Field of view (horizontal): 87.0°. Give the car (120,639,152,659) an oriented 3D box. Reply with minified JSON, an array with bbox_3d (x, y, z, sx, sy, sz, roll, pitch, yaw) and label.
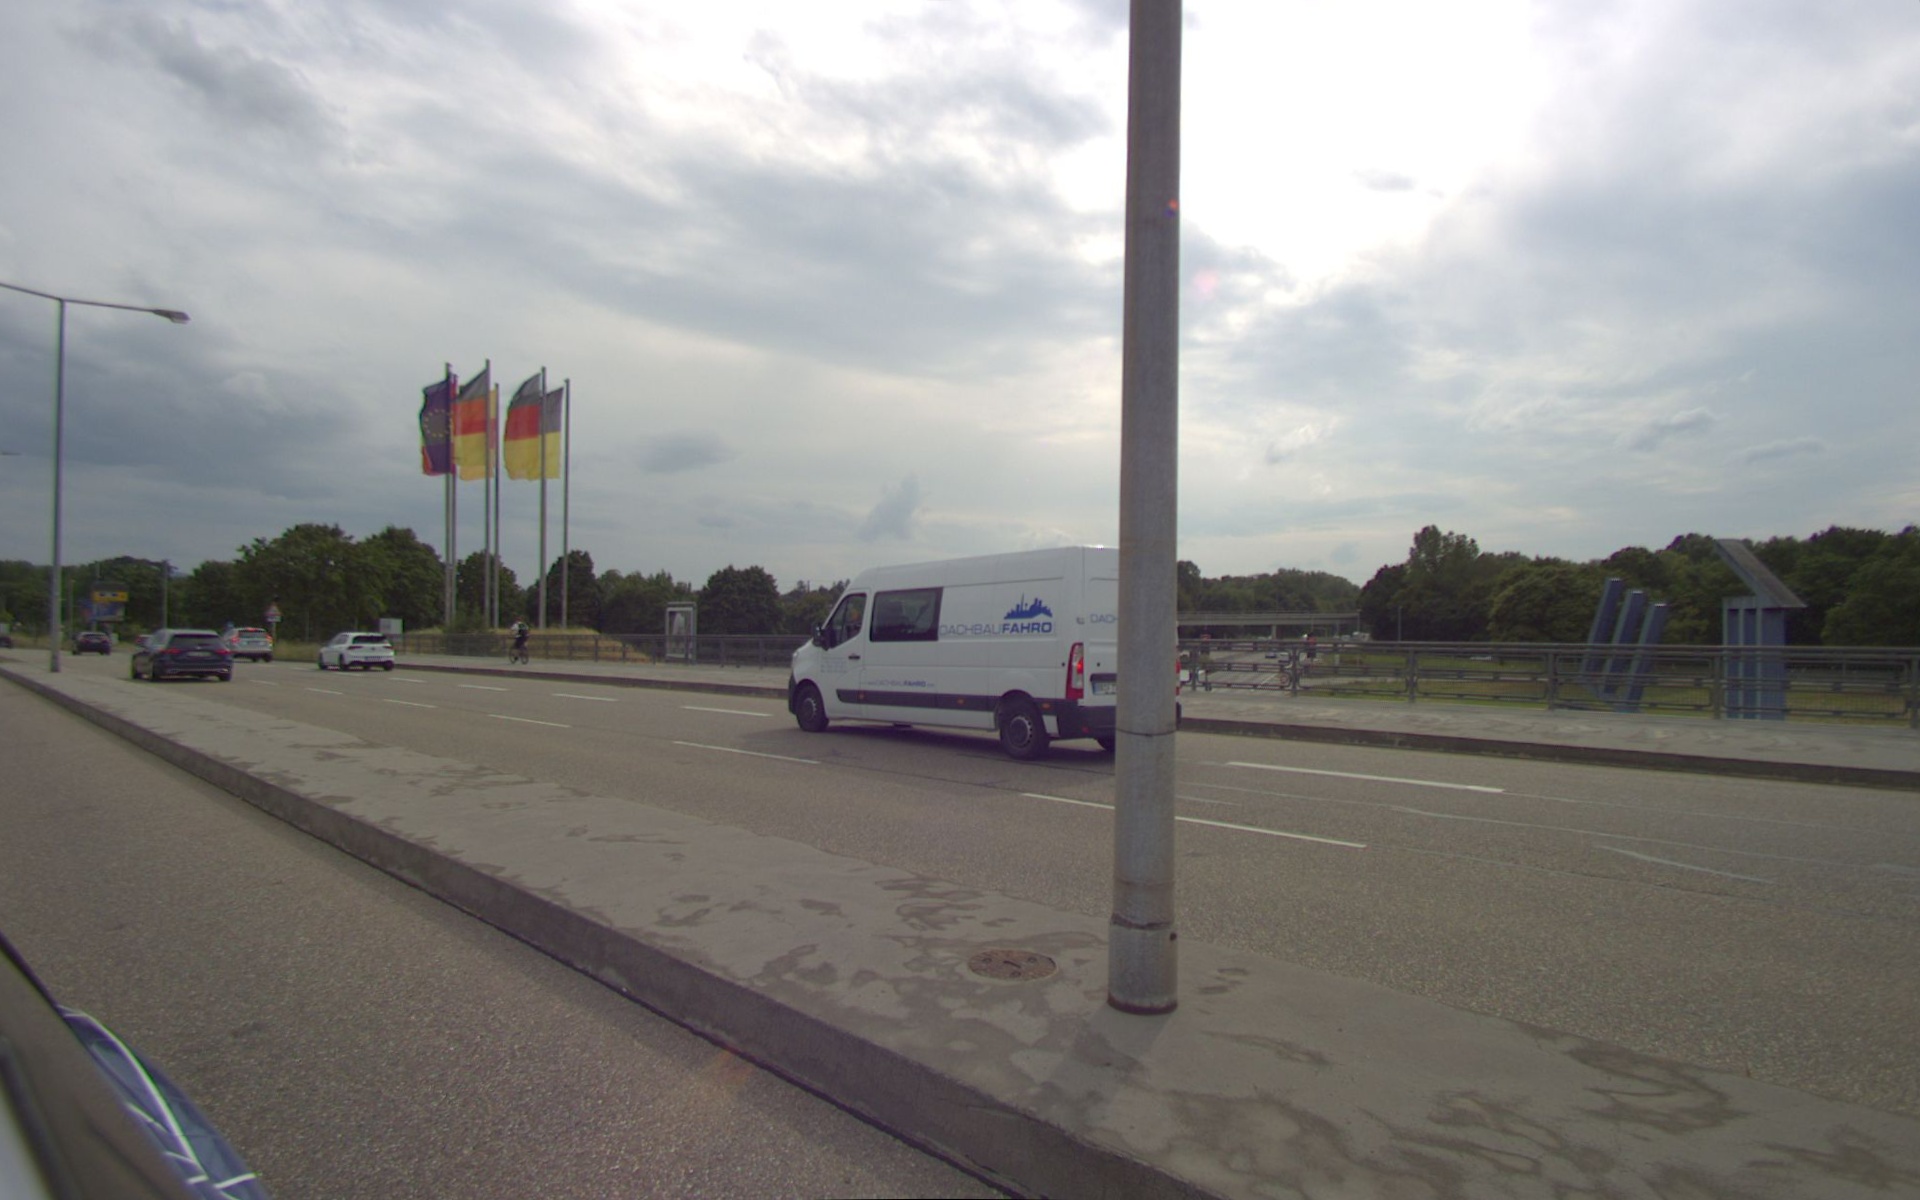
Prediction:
[{"bbox_3d":[-64.713,3.864,79.465,3.691,1.590,1.531,-3,-4,44],"label":"car"}]

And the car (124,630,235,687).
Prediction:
[{"bbox_3d":[-22.174,1.616,28.679,4.776,1.492,1.719,-2,-4,43],"label":"car"}]

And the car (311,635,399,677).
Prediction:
[{"bbox_3d":[-23.389,2.132,39.047,4.471,1.492,1.719,-2,-4,43],"label":"car"}]

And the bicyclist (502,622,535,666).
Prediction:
[{"bbox_3d":[-16.858,1.663,38.629,0.976,1.639,0.786,-2,-1,41],"label":"bicyclist"}]

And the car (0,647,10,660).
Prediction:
[{"bbox_3d":[-109.072,6.032,114.666,4.177,1.452,1.744,-3,-4,43],"label":"car"}]

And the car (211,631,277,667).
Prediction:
[{"bbox_3d":[-35.863,2.441,50.650,4.772,1.738,1.842,-2,-4,44],"label":"car"}]

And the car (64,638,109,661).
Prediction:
[{"bbox_3d":[-59.969,3.361,69.468,4.314,1.527,1.721,-2,-4,41],"label":"car"}]

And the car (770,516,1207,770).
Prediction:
[{"bbox_3d":[0.040,0.577,13.709,2.028,2.663,6.407,3,-4,-42],"label":"car"}]

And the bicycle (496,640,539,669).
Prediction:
[{"bbox_3d":[-16.976,2.087,38.788,2.059,1.057,0.699,-2,-1,41],"label":"bicycle"}]

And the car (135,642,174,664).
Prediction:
[{"bbox_3d":[-57.130,3.767,71.778,4.017,1.527,1.631,-3,-4,44],"label":"car"}]
